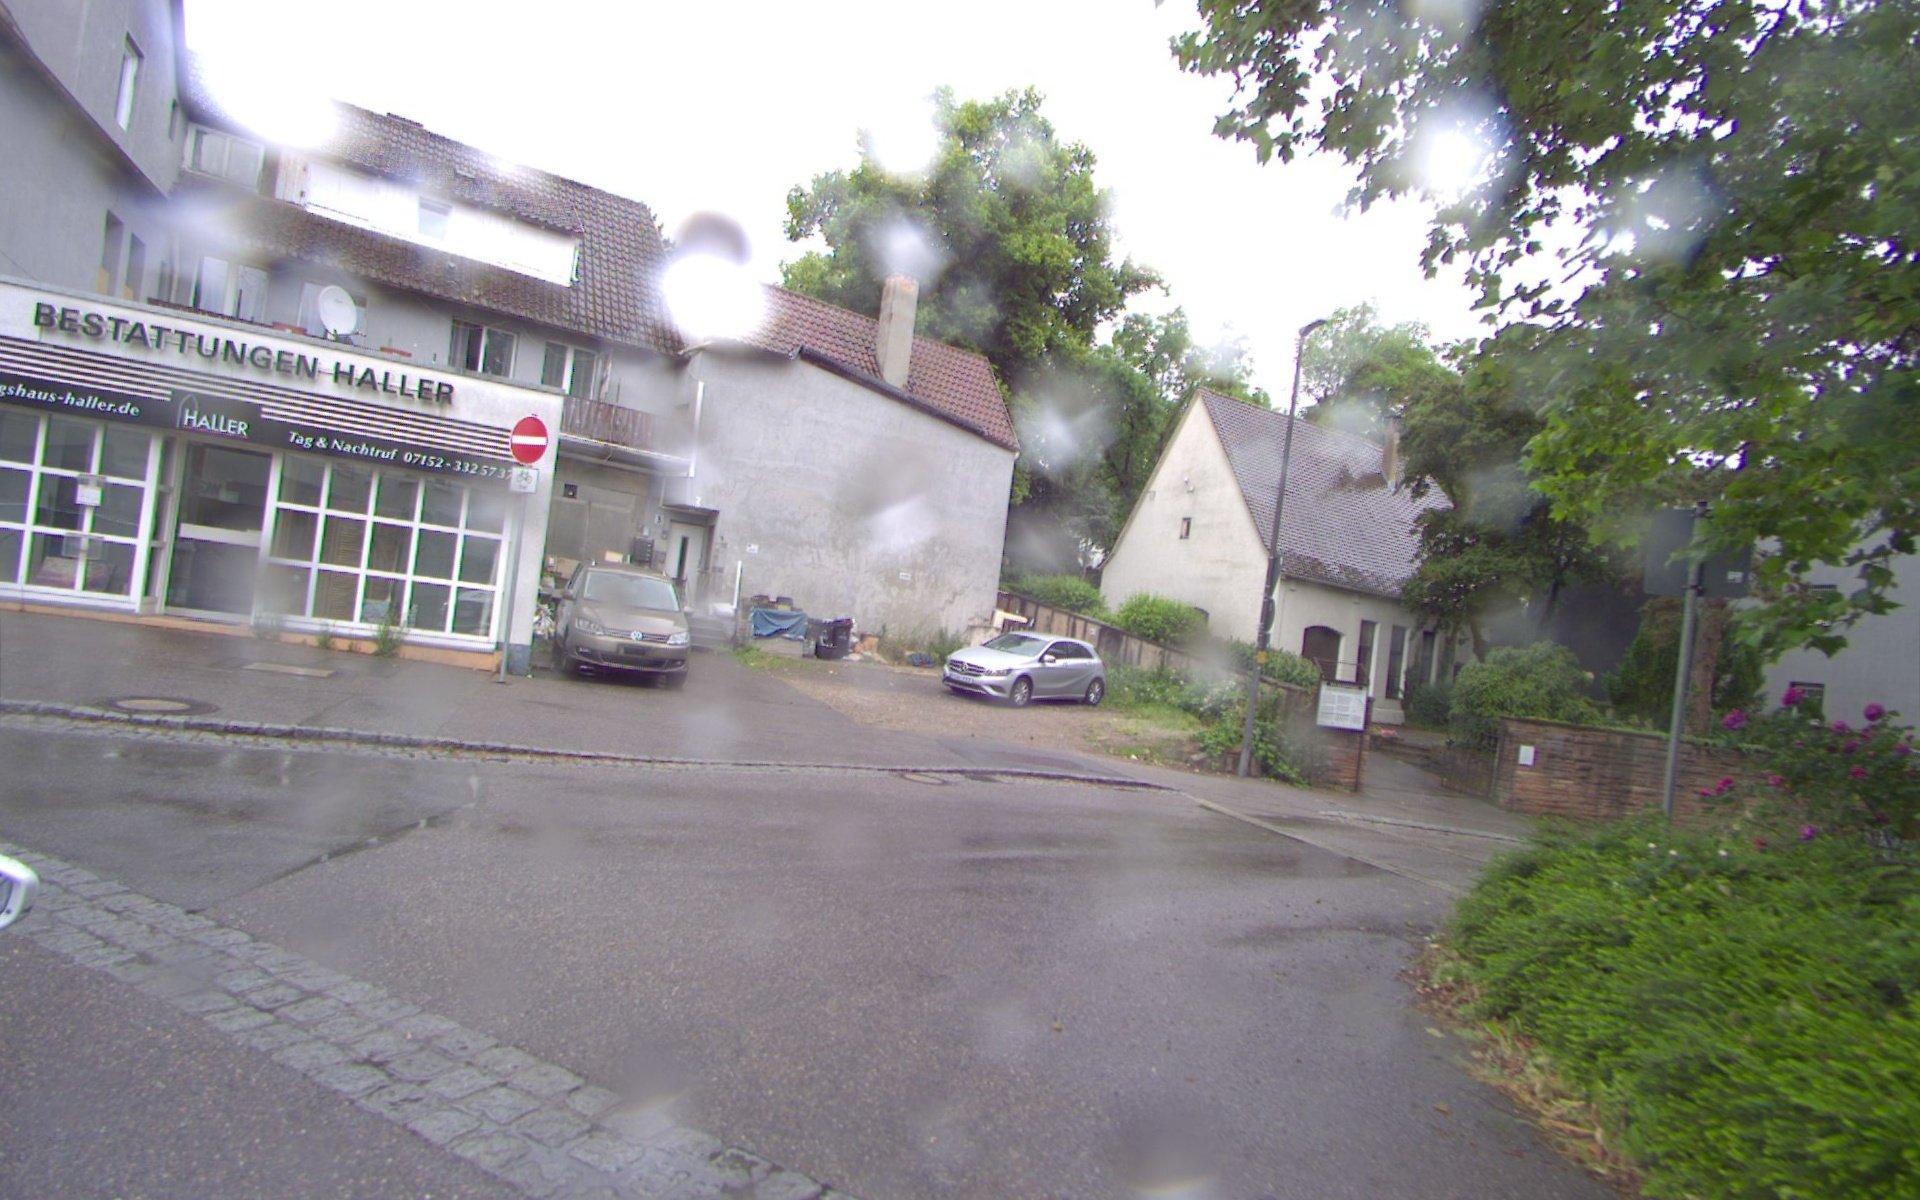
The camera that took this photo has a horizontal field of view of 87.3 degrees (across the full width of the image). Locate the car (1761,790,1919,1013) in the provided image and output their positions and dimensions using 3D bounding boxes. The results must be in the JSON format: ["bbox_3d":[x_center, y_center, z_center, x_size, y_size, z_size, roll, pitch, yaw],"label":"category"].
[{"bbox_3d":[12.459,3.837,11.932,3.930,1.678,1.989,11,18,-1],"label":"car"}]

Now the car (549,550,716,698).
[{"bbox_3d":[-5.337,0.278,16.023,1.975,1.793,3.976,9,0,-23],"label":"car"}]

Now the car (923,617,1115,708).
[{"bbox_3d":[1.313,1.342,21.010,1.807,1.493,3.980,10,2,41],"label":"car"}]
